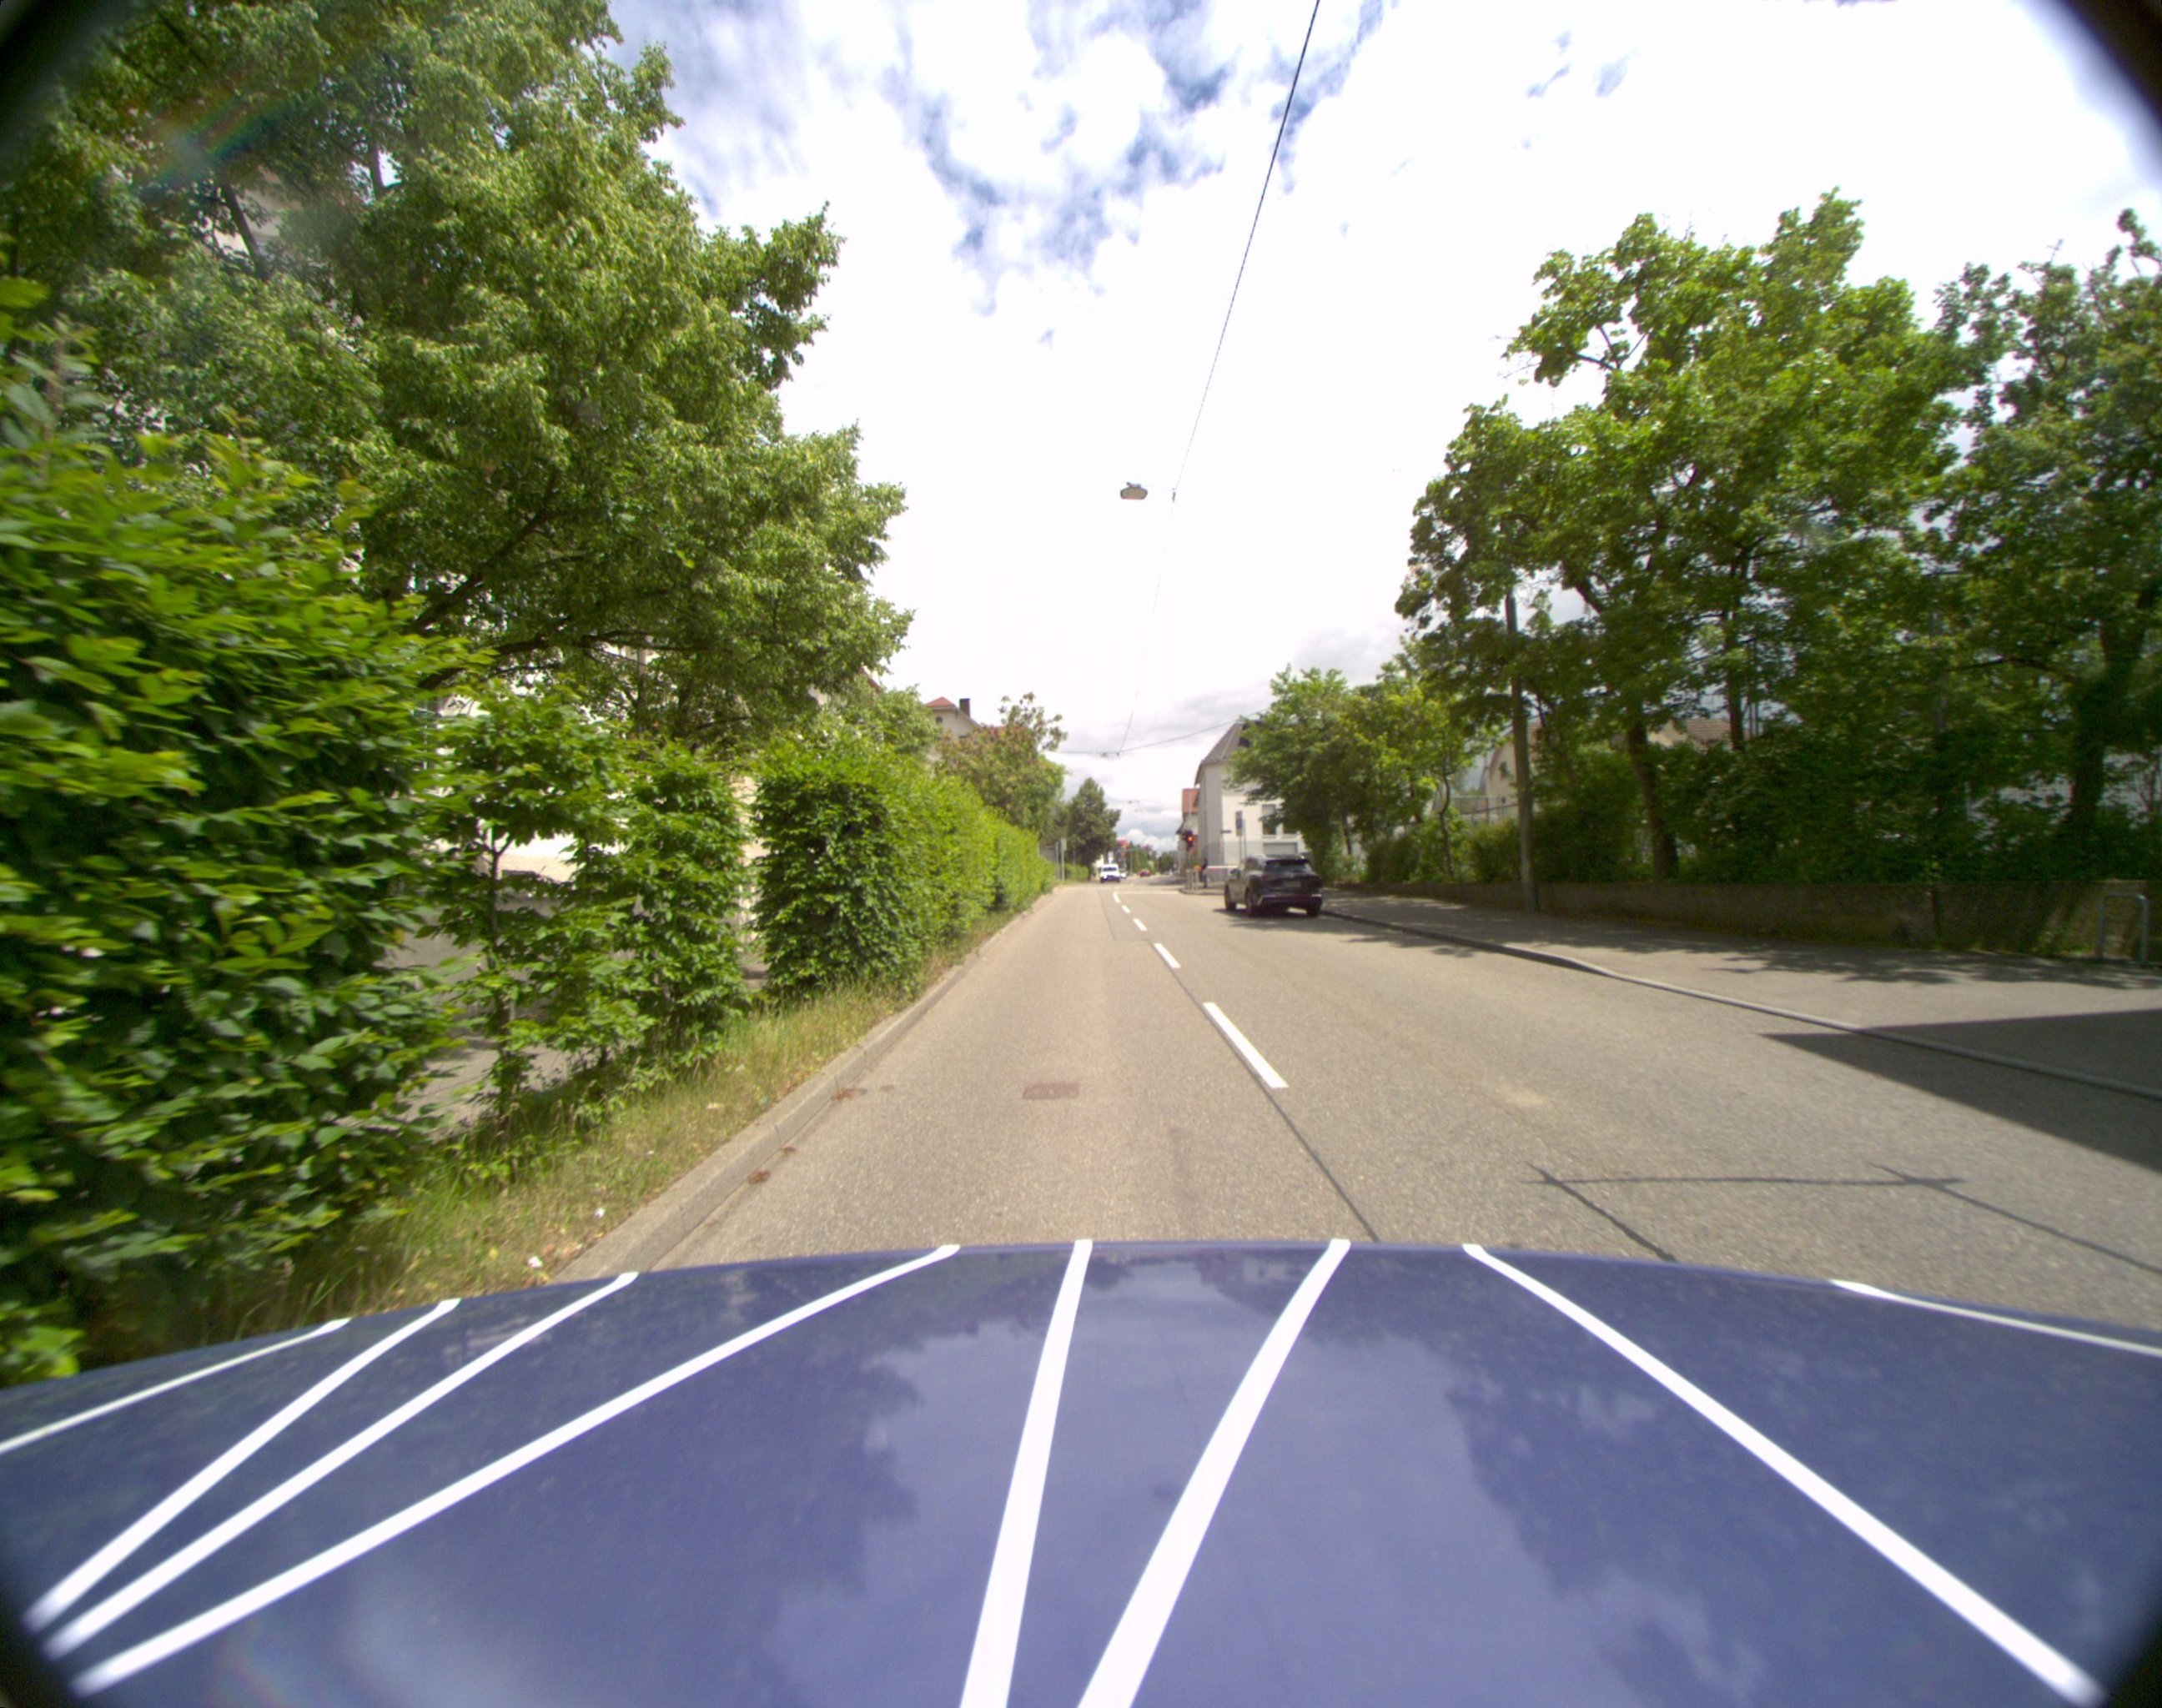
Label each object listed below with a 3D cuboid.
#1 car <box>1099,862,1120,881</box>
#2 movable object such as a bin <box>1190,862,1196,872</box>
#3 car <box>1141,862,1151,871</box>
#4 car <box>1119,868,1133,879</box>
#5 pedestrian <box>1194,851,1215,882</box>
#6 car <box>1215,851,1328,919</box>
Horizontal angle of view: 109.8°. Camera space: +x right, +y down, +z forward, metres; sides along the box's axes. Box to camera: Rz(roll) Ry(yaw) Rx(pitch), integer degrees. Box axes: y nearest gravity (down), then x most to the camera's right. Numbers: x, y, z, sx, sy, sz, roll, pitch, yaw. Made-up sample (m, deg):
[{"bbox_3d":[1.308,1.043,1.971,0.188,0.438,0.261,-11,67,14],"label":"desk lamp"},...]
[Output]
[{"bbox_3d":[2.772,1.644,73.599,1.893,1.717,4.295,-2,-1,4],"label":"car"},{"bbox_3d":[12.665,1.454,85.817,0.642,1.068,0.661,-2,-1,3],"label":"movable object such as a bin"},{"bbox_3d":[12.415,2.444,144.812,1.794,1.477,4.003,-4,-2,6],"label":"car"},{"bbox_3d":[6.700,2.852,112.097,1.794,1.477,4.003,-4,-2,6],"label":"car"},{"bbox_3d":[6.436,0.648,39.681,0.774,1.587,0.670,-2,-1,-35],"label":"pedestrian"},{"bbox_3d":[5.081,0.807,20.979,1.800,1.600,4.646,-2,-1,-2],"label":"car"}]
